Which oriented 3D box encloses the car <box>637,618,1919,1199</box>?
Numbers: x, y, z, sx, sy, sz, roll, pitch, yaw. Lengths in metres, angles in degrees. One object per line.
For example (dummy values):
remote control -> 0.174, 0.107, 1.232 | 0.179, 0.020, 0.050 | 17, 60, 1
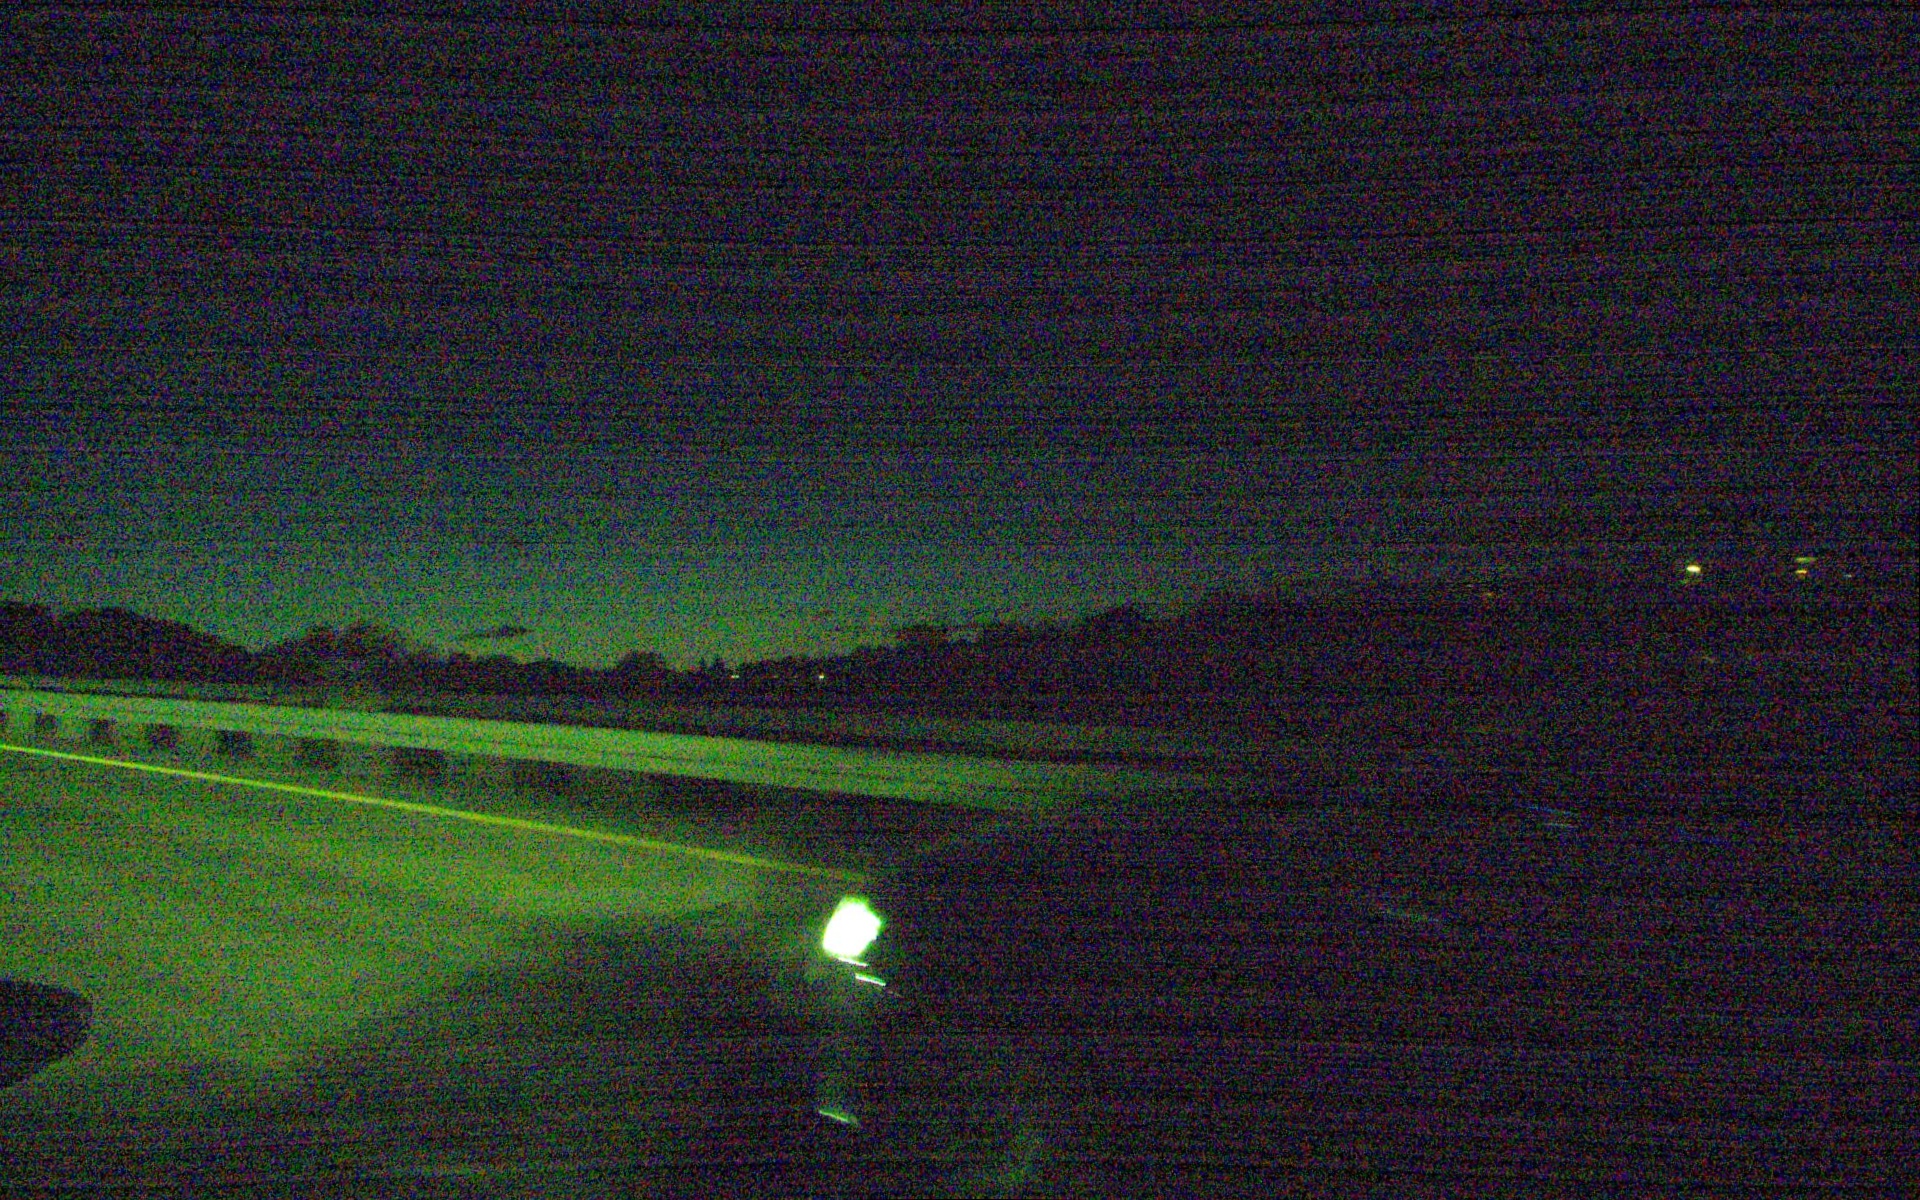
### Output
car -> 1.471, 0.784, 2.576 | 4.807, 1.445, 1.803 | -1, 0, 34
